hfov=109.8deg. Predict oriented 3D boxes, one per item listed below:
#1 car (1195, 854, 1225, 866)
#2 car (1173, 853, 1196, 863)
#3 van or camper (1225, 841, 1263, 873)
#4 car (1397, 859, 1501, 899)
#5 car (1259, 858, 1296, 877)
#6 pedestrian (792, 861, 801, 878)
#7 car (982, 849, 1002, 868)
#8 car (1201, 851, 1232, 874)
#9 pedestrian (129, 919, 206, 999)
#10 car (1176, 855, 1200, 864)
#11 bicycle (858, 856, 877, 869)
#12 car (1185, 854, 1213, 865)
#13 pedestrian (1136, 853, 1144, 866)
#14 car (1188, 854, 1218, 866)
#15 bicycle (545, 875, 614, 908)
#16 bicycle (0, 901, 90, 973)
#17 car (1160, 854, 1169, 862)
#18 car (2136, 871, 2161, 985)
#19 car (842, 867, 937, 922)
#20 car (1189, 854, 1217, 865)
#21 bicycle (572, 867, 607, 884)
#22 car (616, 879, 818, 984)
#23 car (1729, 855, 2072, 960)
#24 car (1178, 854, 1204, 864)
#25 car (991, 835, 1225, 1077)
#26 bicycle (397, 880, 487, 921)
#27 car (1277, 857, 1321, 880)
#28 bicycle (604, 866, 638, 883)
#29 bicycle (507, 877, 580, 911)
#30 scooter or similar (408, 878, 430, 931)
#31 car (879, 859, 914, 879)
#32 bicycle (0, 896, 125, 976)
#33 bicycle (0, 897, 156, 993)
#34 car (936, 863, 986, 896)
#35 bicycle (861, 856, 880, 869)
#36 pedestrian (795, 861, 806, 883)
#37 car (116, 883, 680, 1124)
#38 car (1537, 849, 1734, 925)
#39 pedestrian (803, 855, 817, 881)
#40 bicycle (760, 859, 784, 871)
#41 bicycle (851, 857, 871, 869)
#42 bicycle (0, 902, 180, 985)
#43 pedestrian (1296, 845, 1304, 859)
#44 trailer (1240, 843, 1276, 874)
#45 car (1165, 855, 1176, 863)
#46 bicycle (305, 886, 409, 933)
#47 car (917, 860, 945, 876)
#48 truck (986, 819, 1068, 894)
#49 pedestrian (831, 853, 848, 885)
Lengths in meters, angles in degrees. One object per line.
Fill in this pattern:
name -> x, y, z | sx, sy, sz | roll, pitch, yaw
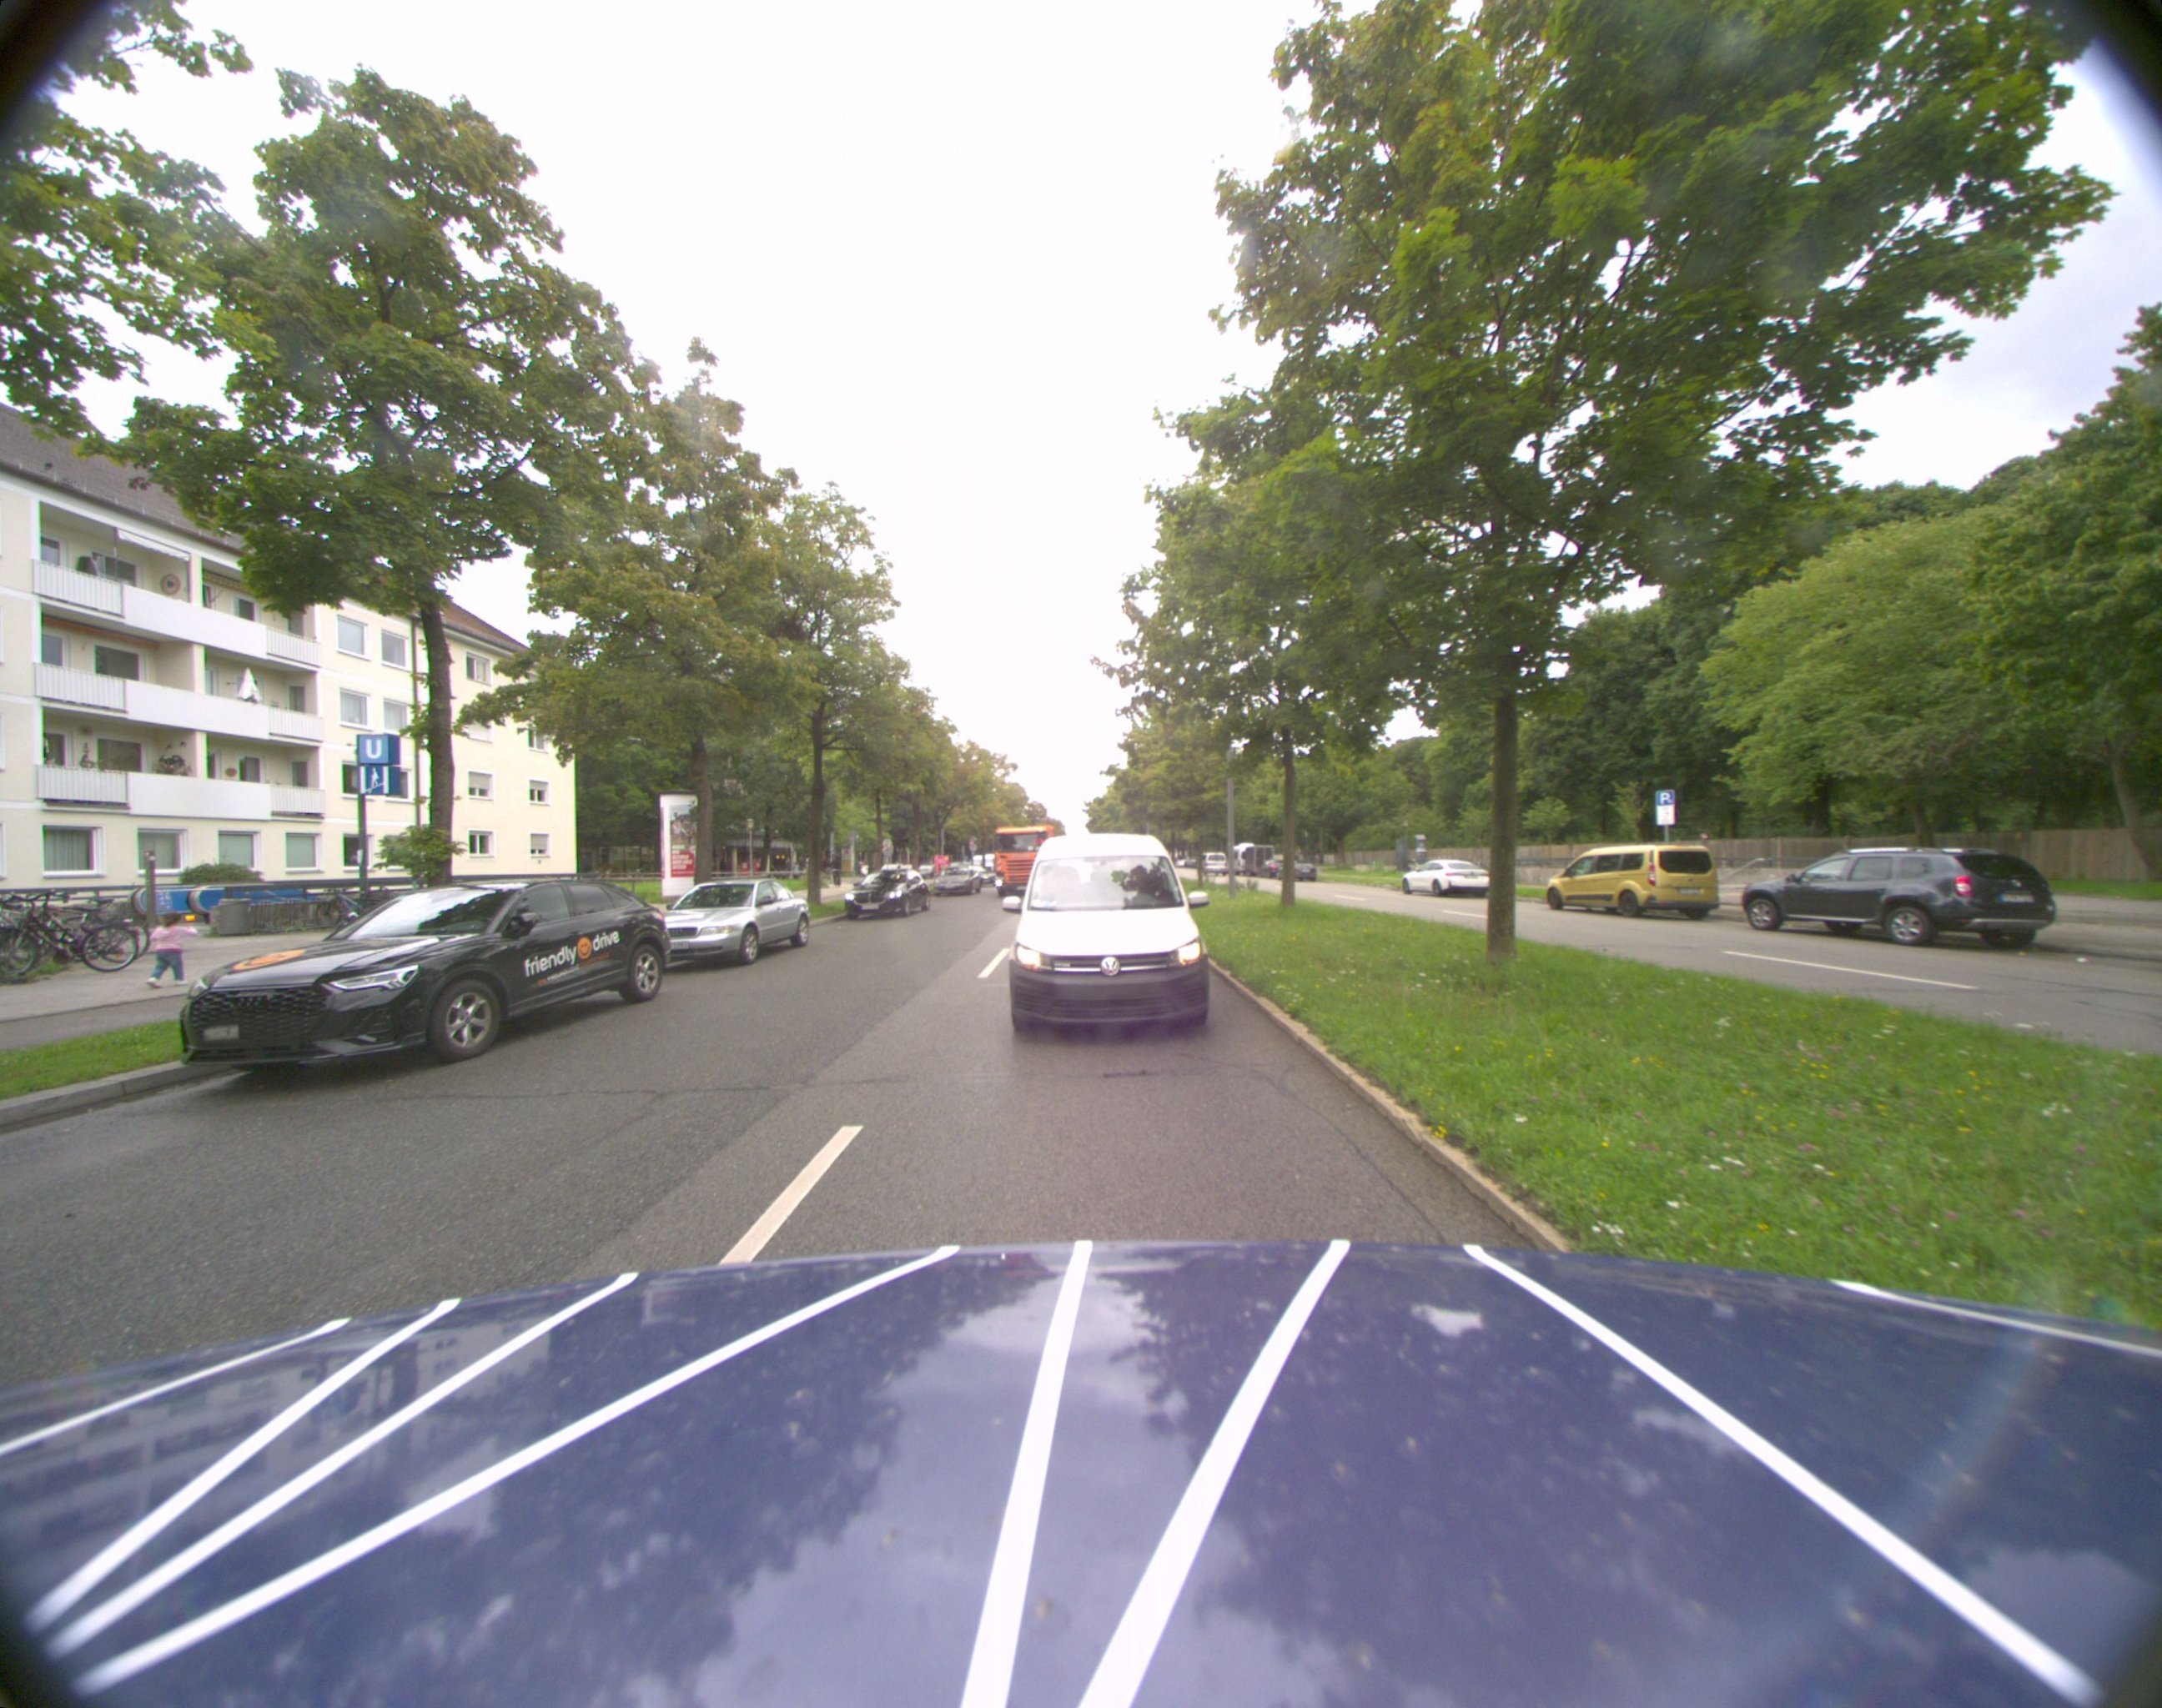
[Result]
car -> 18.979, 0.830, 111.763 | 4.005, 1.548, 1.888 | -3, 0, -27
car -> 18.983, 0.768, 139.808 | 4.006, 1.718, 1.777 | -2, 1, -34
van or camper -> 14.994, 0.262, 70.315 | 2.040, 2.821, 7.546 | 0, 0, 1
car -> 14.842, 0.957, 31.010 | 1.861, 1.464, 4.875 | 0, 0, 0
car -> 15.062, 0.981, 58.361 | 1.805, 1.376, 4.238 | 0, 0, 1
pedestrian -> -26.319, 1.438, 70.214 | 0.633, 1.533, 0.659 | 1, 1, -29
car -> -12.681, 0.628, 108.454 | 1.978, 2.641, 6.006 | -2, 0, 0
car -> 11.749, 0.665, 66.304 | 1.804, 1.922, 4.993 | 0, 0, 0
pedestrian -> -11.483, 1.312, 9.561 | 0.408, 0.944, 0.435 | -1, 1, -1
car -> 18.793, 0.957, 133.190 | 4.006, 1.358, 1.588 | -2, 1, -30
bicycle -> -28.367, 1.100, 101.086 | 2.313, 1.613, 0.649 | -1, 0, 0
car -> 18.826, 0.812, 120.916 | 4.006, 1.548, 1.887 | -3, 0, -32
pedestrian -> 7.818, 0.735, 101.177 | 0.872, 1.689, 0.771 | 0, 2, 21
car -> 18.358, 0.838, 114.334 | 4.006, 1.548, 1.887 | -3, 0, -32
bicycle -> -16.325, 1.223, 24.754 | 1.883, 1.022, 0.432 | 0, 1, -7
bicycle -> -16.591, 1.290, 11.593 | 0.432, 1.022, 1.884 | 0, 0, 1
car -> 17.864, 0.865, 162.872 | 1.889, 1.435, 4.170 | -2, 0, 5
car -> 14.618, 0.949, 7.621 | 1.767, 1.441, 4.533 | 0, 0, 0
car -> -5.890, 1.194, 23.882 | 1.755, 1.457, 4.176 | -2, 0, 2
car -> 18.977, 0.849, 117.986 | 4.006, 1.548, 1.887 | -3, 0, -32
bicycle -> -28.632, 1.255, 44.235 | 1.696, 0.965, 0.455 | -1, 0, -3
car -> -6.215, 1.239, 13.570 | 1.640, 1.378, 4.243 | -2, 0, -2
car -> 14.696, 0.850, 14.065 | 1.741, 1.636, 4.255 | 0, 0, 0
car -> 18.792, 0.881, 129.930 | 4.006, 1.548, 1.887 | -3, 0, -32
car -> 0.187, 0.777, 8.065 | 1.750, 1.807, 4.667 | -1, 0, -1
bicycle -> -16.534, 1.209, 19.678 | 1.882, 1.022, 0.432 | 0, 1, -3
car -> 14.819, 0.959, 51.914 | 1.805, 1.417, 4.431 | 0, 0, 1
bicycle -> -26.848, 1.199, 44.362 | 1.696, 0.965, 0.455 | -1, 0, -3
bicycle -> -16.485, 1.231, 23.332 | 1.882, 1.022, 0.432 | 0, 1, -3
scooter or similar -> -15.810, 1.183, 18.140 | 0.359, 1.193, 1.386 | -1, 1, -42
car -> -15.789, 1.262, 65.163 | 1.826, 1.624, 4.198 | 0, 0, 3
bicycle -> -15.889, 1.228, 11.490 | 0.432, 1.095, 1.884 | 0, 0, 1
bicycle -> -13.775, 1.190, 10.181 | 0.432, 1.127, 1.884 | 0, 0, 1
car -> -5.912, 1.214, 37.845 | 1.686, 1.457, 4.115 | -2, 0, 2
bicycle -> -28.276, 1.122, 101.991 | 2.313, 1.613, 0.649 | -1, 0, 0
pedestrian -> -21.000, 1.333, 56.882 | 0.581, 1.565, 0.780 | -2, 1, -26
car -> -6.093, 1.170, 7.657 | 1.721, 1.524, 4.275 | -2, 0, 1
car -> 14.496, 0.772, 20.284 | 1.819, 1.772, 4.818 | 0, 0, 1
pedestrian -> -18.254, 0.951, 51.193 | 0.599, 1.720, 0.642 | -1, 1, 39
bicycle -> -29.454, 1.084, 72.455 | 2.080, 1.114, 0.455 | -1, 0, 0
bicycle -> -28.654, 1.170, 98.979 | 2.313, 1.523, 0.649 | -1, 0, 0
bicycle -> -14.661, 1.268, 11.214 | 0.432, 1.022, 1.884 | 0, 0, 1
pedestrian -> 27.585, -0.311, 95.782 | 0.770, 1.757, 0.874 | 0, 1, -3
trailer -> 14.912, 0.372, 64.237 | 2.022, 2.575, 4.659 | 0, 0, 1
car -> 17.828, 0.960, 150.988 | 1.889, 1.435, 4.170 | -2, 0, 5
bicycle -> -16.431, 1.260, 17.265 | 1.882, 1.022, 0.432 | 0, 1, -3
car -> -15.480, 1.414, 78.822 | 1.826, 1.522, 4.603 | 0, 0, 2
truck -> -2.429, 0.116, 37.654 | 3.046, 3.170, 9.134 | -2, 0, 2
pedestrian -> -13.087, 0.816, 41.121 | 0.641, 1.739, 0.849 | 1, 0, -1
